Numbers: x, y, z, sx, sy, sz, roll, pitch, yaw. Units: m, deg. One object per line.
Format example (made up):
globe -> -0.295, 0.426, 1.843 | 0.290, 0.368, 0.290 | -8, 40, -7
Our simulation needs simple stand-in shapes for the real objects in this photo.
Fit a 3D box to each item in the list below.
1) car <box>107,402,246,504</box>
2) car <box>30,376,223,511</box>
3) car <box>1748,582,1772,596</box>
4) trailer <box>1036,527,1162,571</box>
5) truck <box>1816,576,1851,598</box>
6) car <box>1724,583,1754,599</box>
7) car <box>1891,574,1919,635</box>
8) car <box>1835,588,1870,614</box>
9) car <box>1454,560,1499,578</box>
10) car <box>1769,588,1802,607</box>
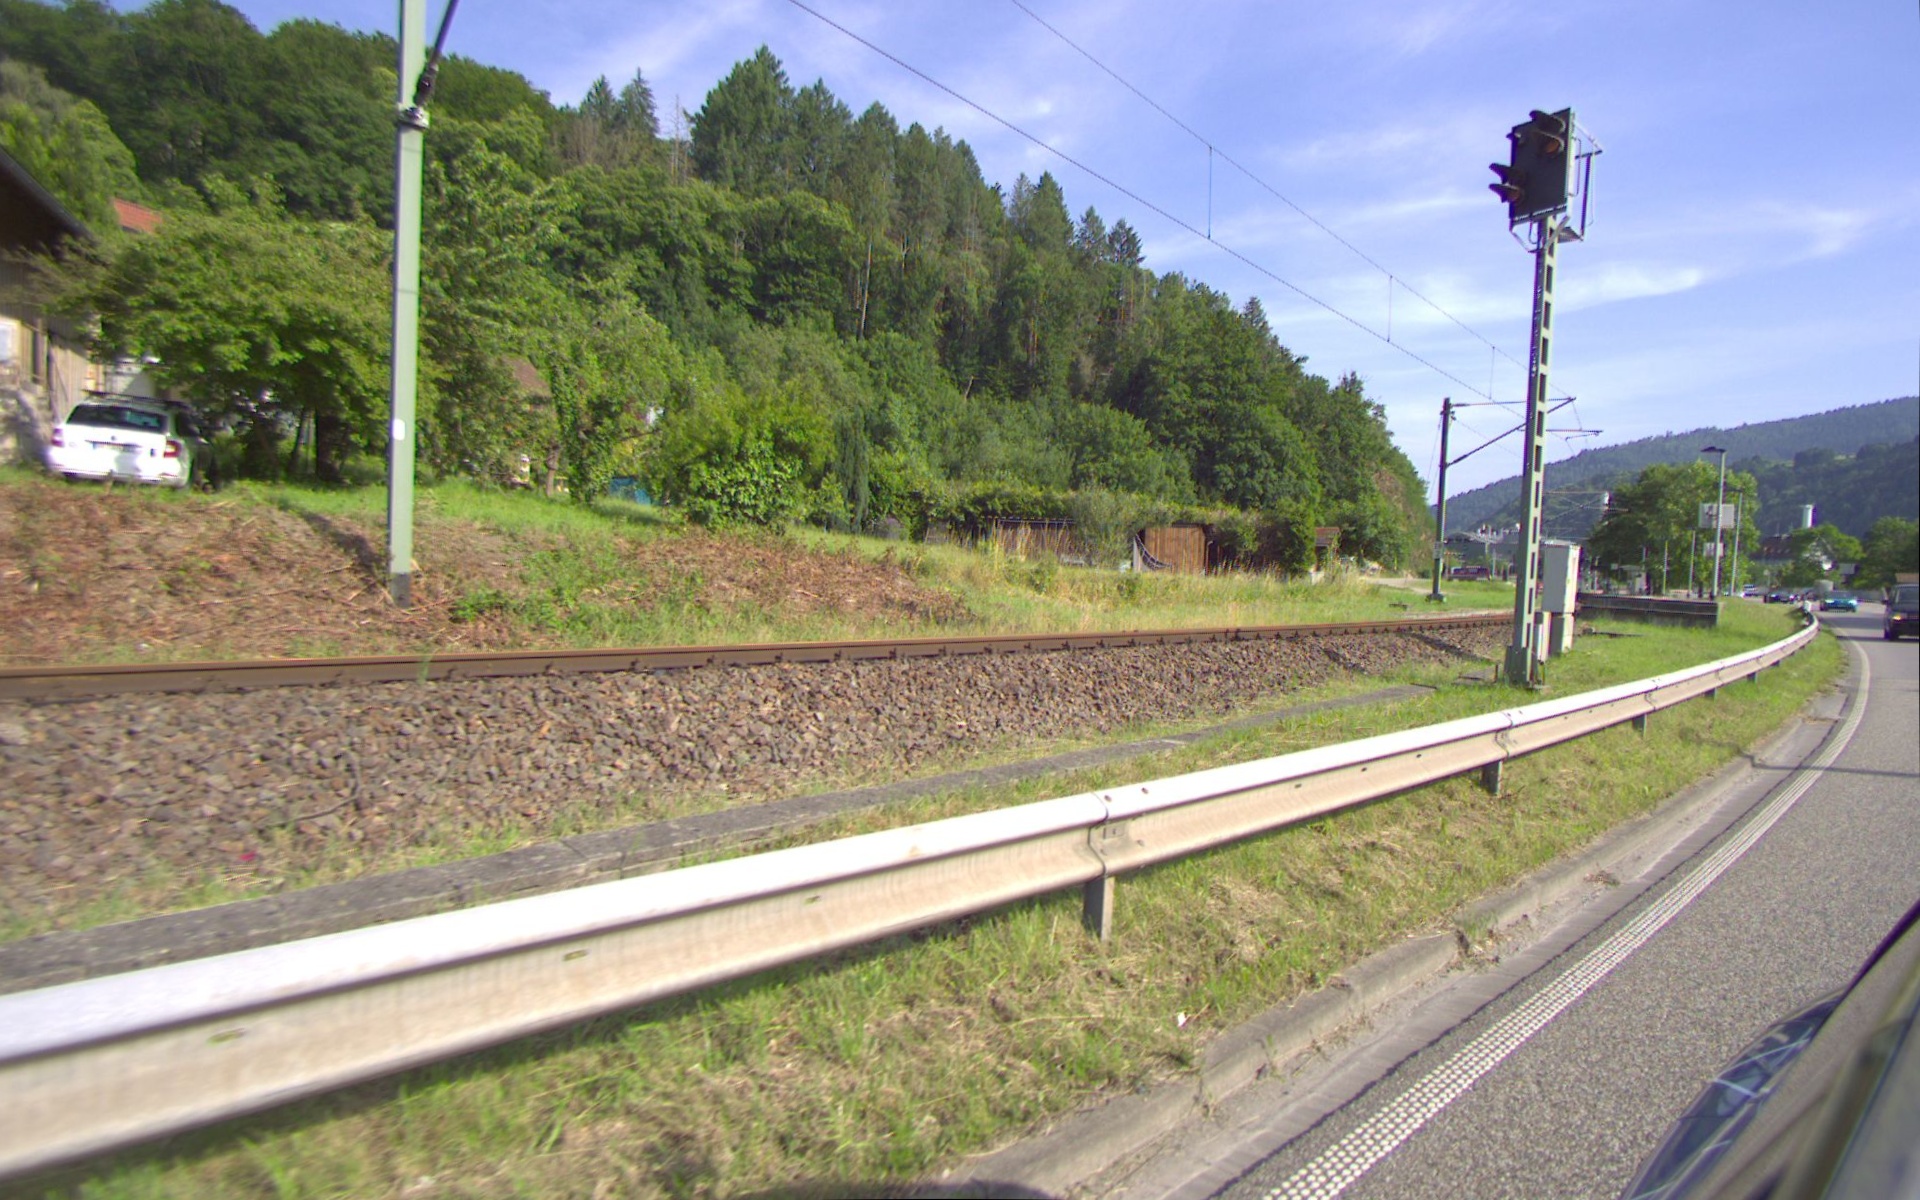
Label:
car -> -16.946, -3.088, 22.098 | 1.741, 1.603, 4.475 | -1, 1, -29
car -> -13.915, -2.500, 17.177 | 1.741, 1.603, 4.475 | -1, 1, -29
car -> 105.536, -1.435, 133.560 | 1.870, 1.767, 4.136 | 1, 1, 29
trailer -> 5.208, -1.911, 37.874 | 4.066, 1.045, 2.302 | 9, 3, 28
truck -> 94.441, -1.384, 109.464 | 1.869, 2.314, 4.674 | 1, 1, 28
car -> 89.906, -1.037, 116.868 | 1.866, 1.767, 4.143 | 1, 1, 25
car -> 32.964, 0.117, 34.263 | 2.012, 1.940, 4.248 | 1, 2, 42
car -> 65.099, 0.037, 73.818 | 1.879, 1.767, 4.116 | 0, 2, 42
car -> 65.035, -3.874, 127.348 | 4.934, 2.039, 1.979 | -1, 1, 31
car -> 80.111, -0.246, 98.285 | 1.871, 1.767, 4.132 | 1, 1, 31
